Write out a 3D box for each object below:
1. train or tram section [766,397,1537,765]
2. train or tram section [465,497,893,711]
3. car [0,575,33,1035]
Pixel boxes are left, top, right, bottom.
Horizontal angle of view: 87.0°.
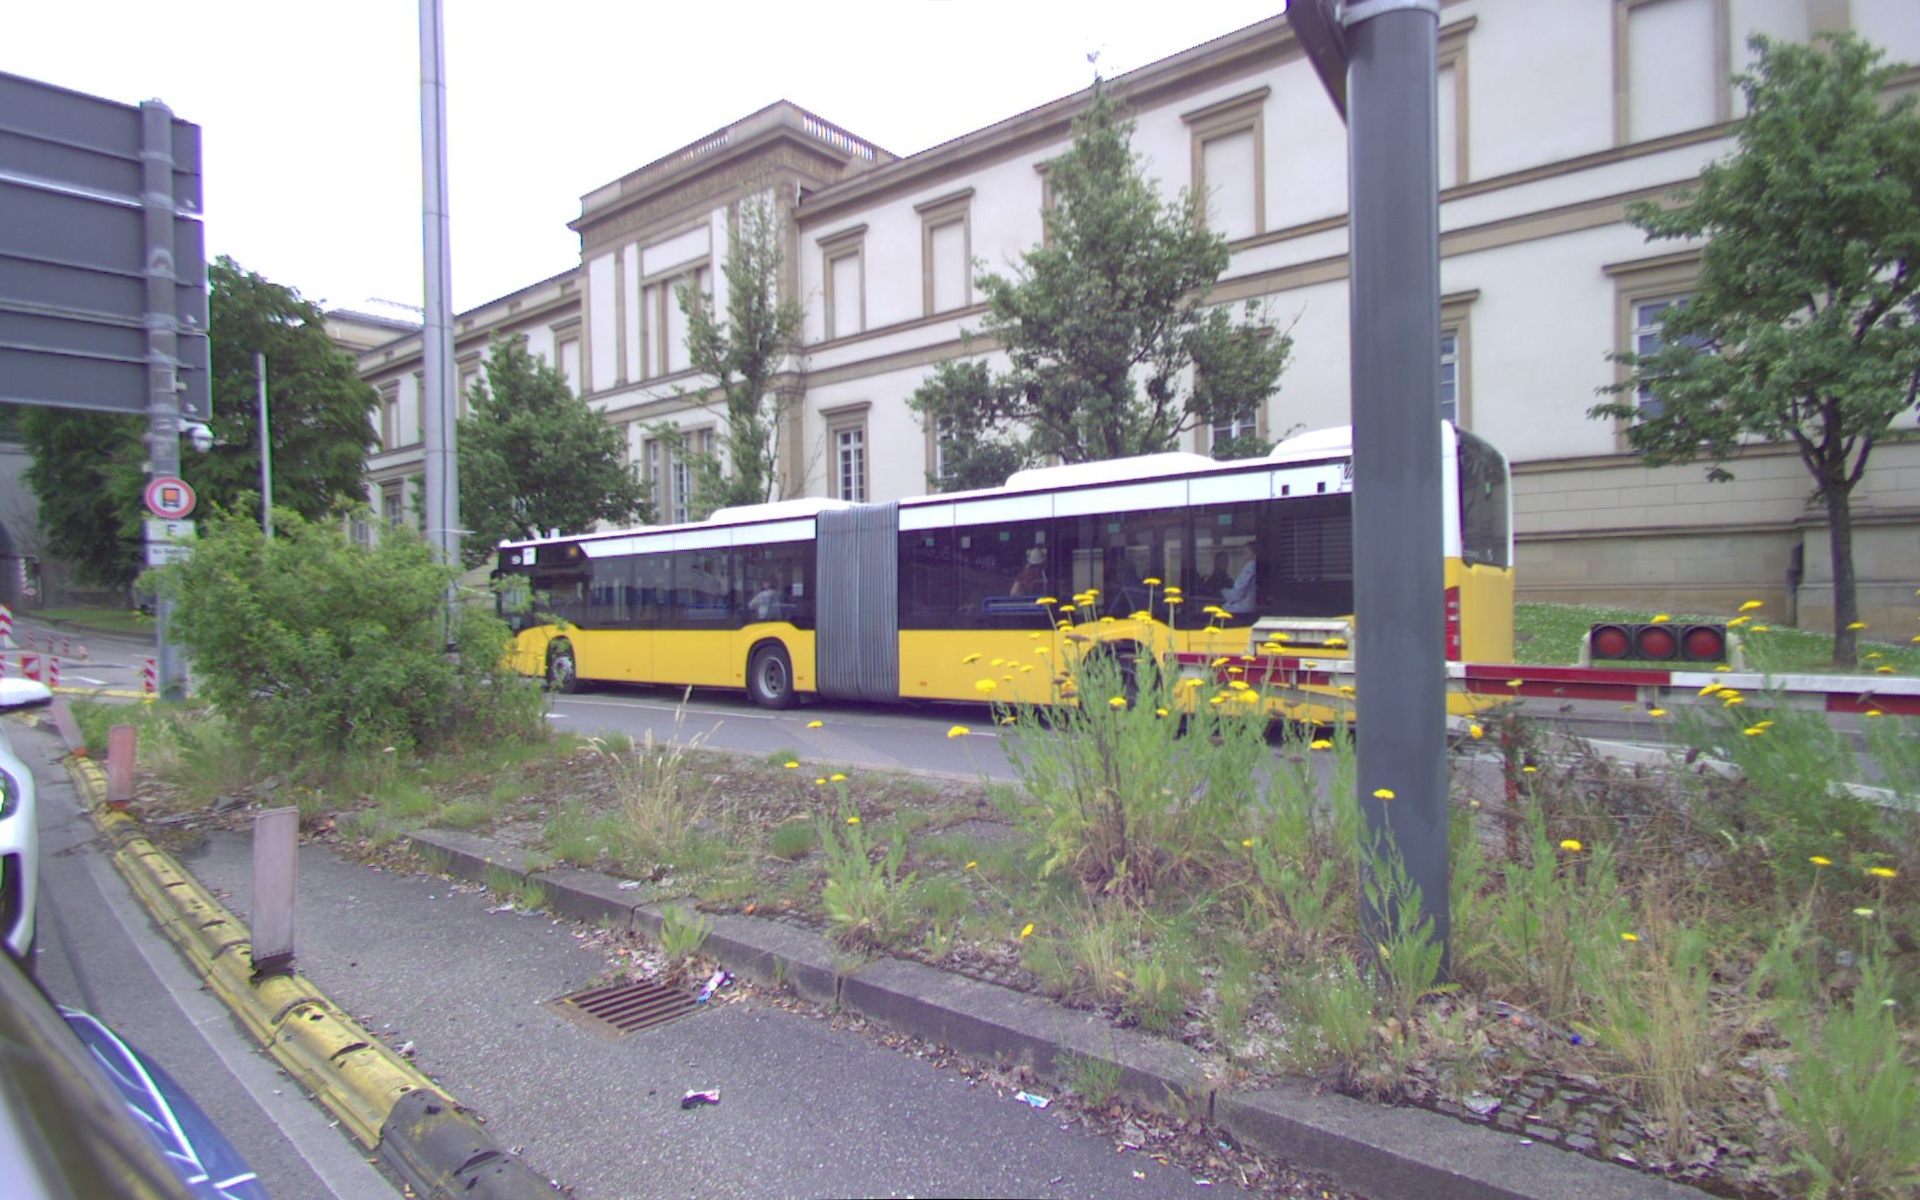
[{"bbox_3d":[1.597,-0.055,12.574,9.330,3.094,2.666,-2,-2,41],"label":"train or tram section"},{"bbox_3d":[-5.563,0.169,18.587,9.366,3.094,2.667,-2,-2,39],"label":"train or tram section"},{"bbox_3d":[-5.236,0.725,4.210,3.911,1.568,1.733,-1,0,43],"label":"car"}]
